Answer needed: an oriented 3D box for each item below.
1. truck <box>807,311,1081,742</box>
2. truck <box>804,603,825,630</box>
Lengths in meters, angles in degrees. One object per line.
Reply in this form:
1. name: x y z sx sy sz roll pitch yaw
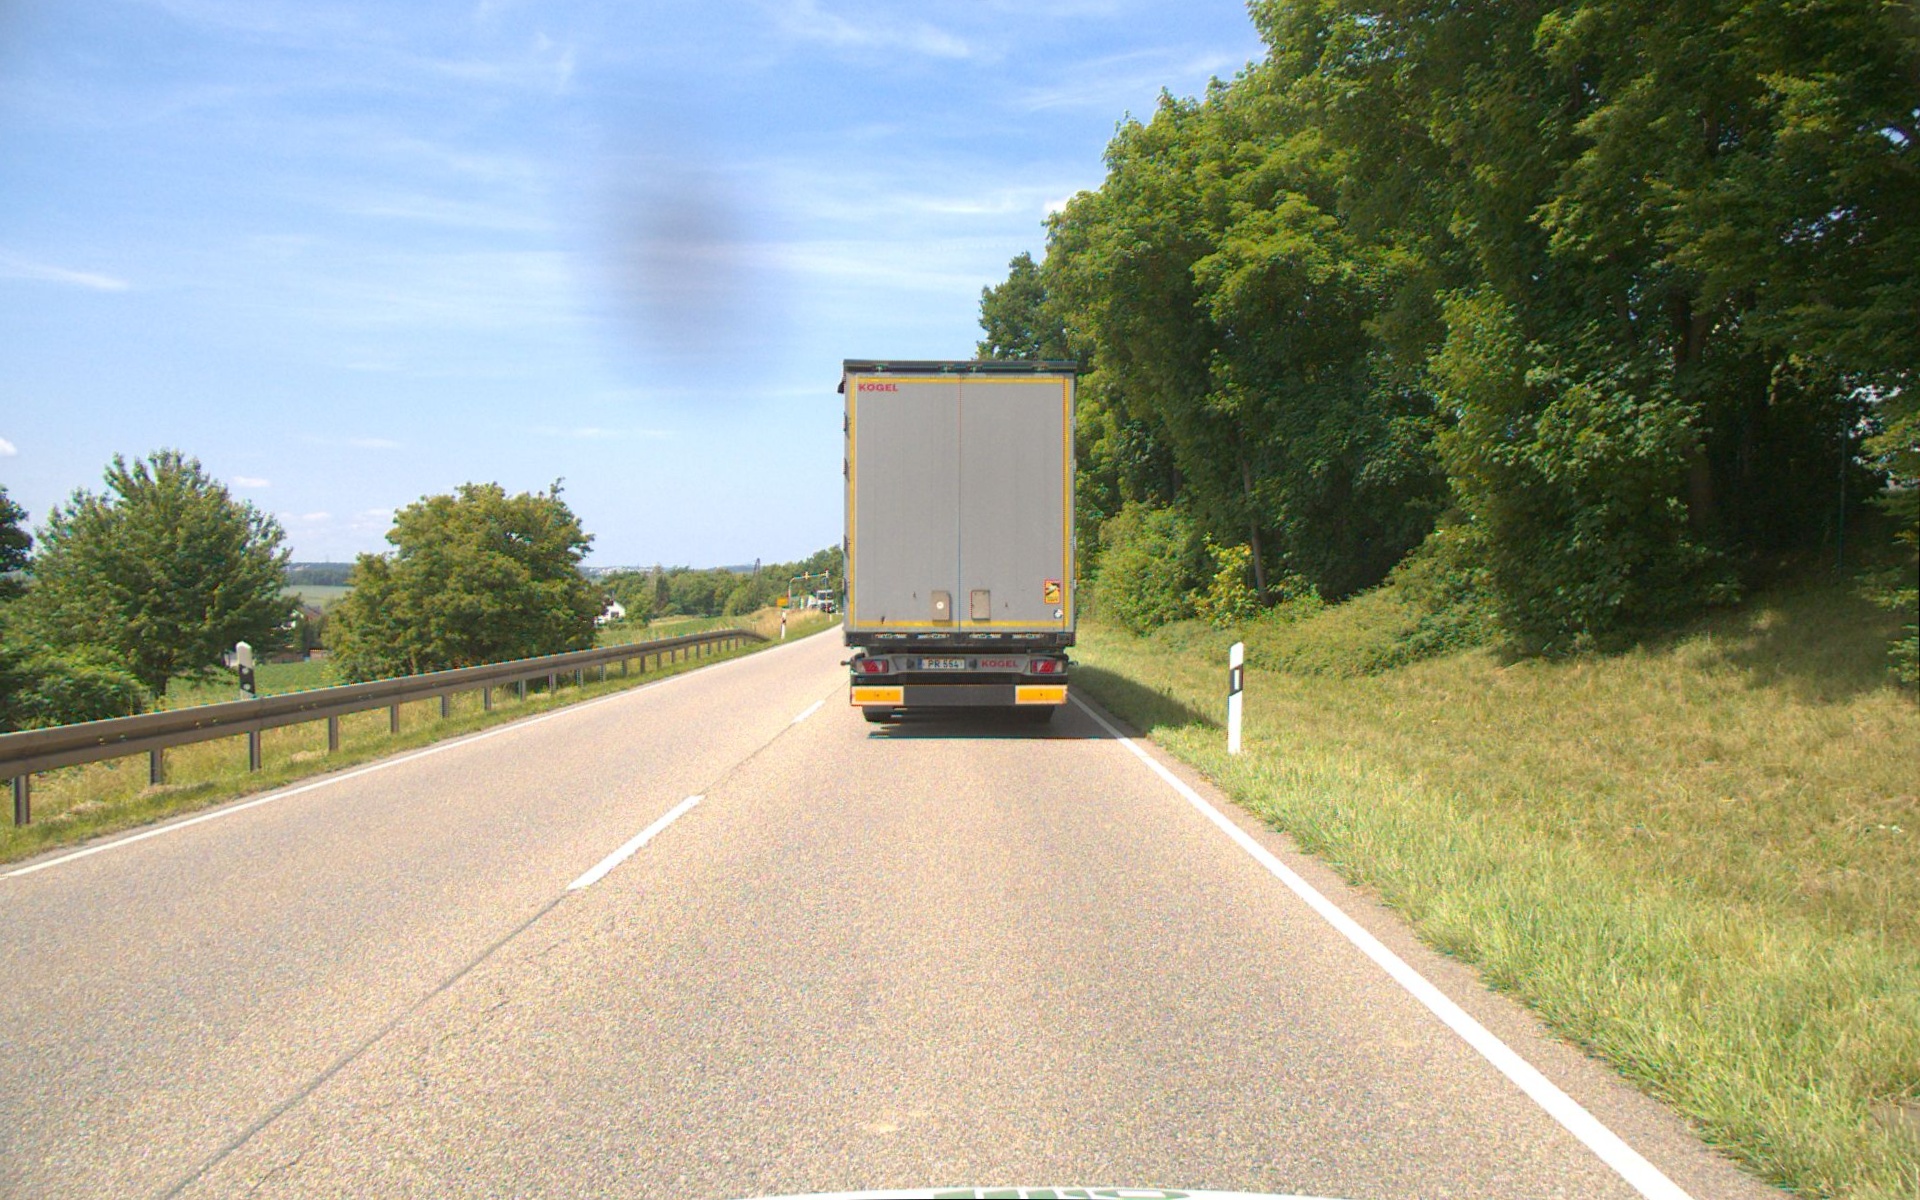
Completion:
1. truck: -0.185 -0.770 21.649 2.848 4.487 8.859 0 0 0
2. truck: -20.766 2.464 237.145 2.703 3.638 11.053 -3 -1 -4
